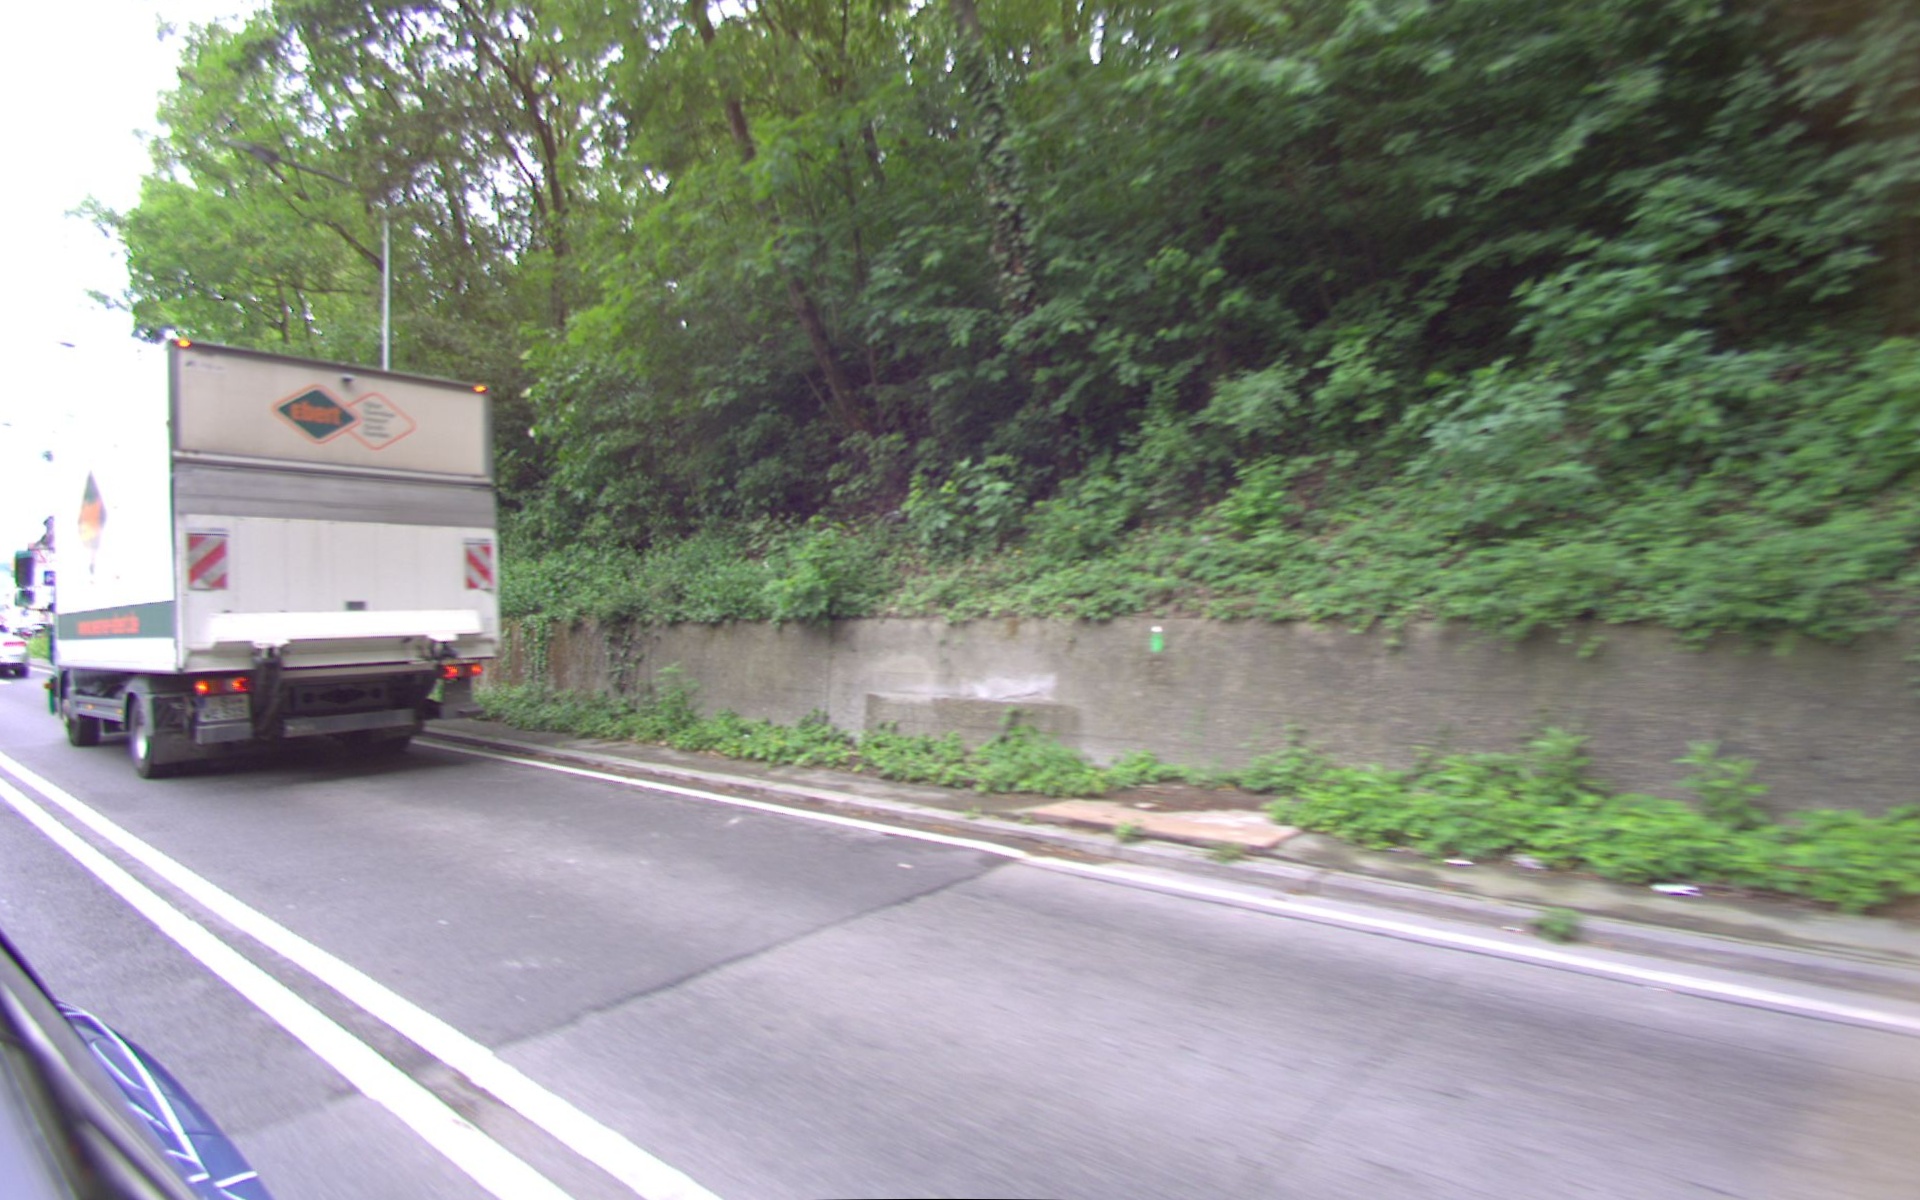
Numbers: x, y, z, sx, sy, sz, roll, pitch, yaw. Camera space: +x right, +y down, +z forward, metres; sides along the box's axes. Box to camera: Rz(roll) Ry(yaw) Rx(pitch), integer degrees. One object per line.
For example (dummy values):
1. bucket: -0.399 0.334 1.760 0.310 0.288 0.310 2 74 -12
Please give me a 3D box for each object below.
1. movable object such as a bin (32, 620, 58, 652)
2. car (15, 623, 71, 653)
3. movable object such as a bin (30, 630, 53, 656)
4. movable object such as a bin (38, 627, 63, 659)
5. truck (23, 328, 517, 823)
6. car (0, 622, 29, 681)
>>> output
1. movable object such as a bin: -35.741 1.407 39.526 0.490 1.194 0.600 -2 1 30
2. car: -47.072 1.956 51.931 1.970 1.411 4.521 1 -4 -44
3. movable object such as a bin: -36.122 1.692 39.799 0.443 0.974 0.512 -2 1 30
4. movable object such as a bin: -35.287 1.649 39.262 0.429 1.194 0.577 -2 1 30
5. truck: -7.879 -0.141 11.033 7.513 3.694 2.648 -1 -1 41
6. car: -24.707 1.240 25.098 4.453 1.381 1.849 -1 -1 40
